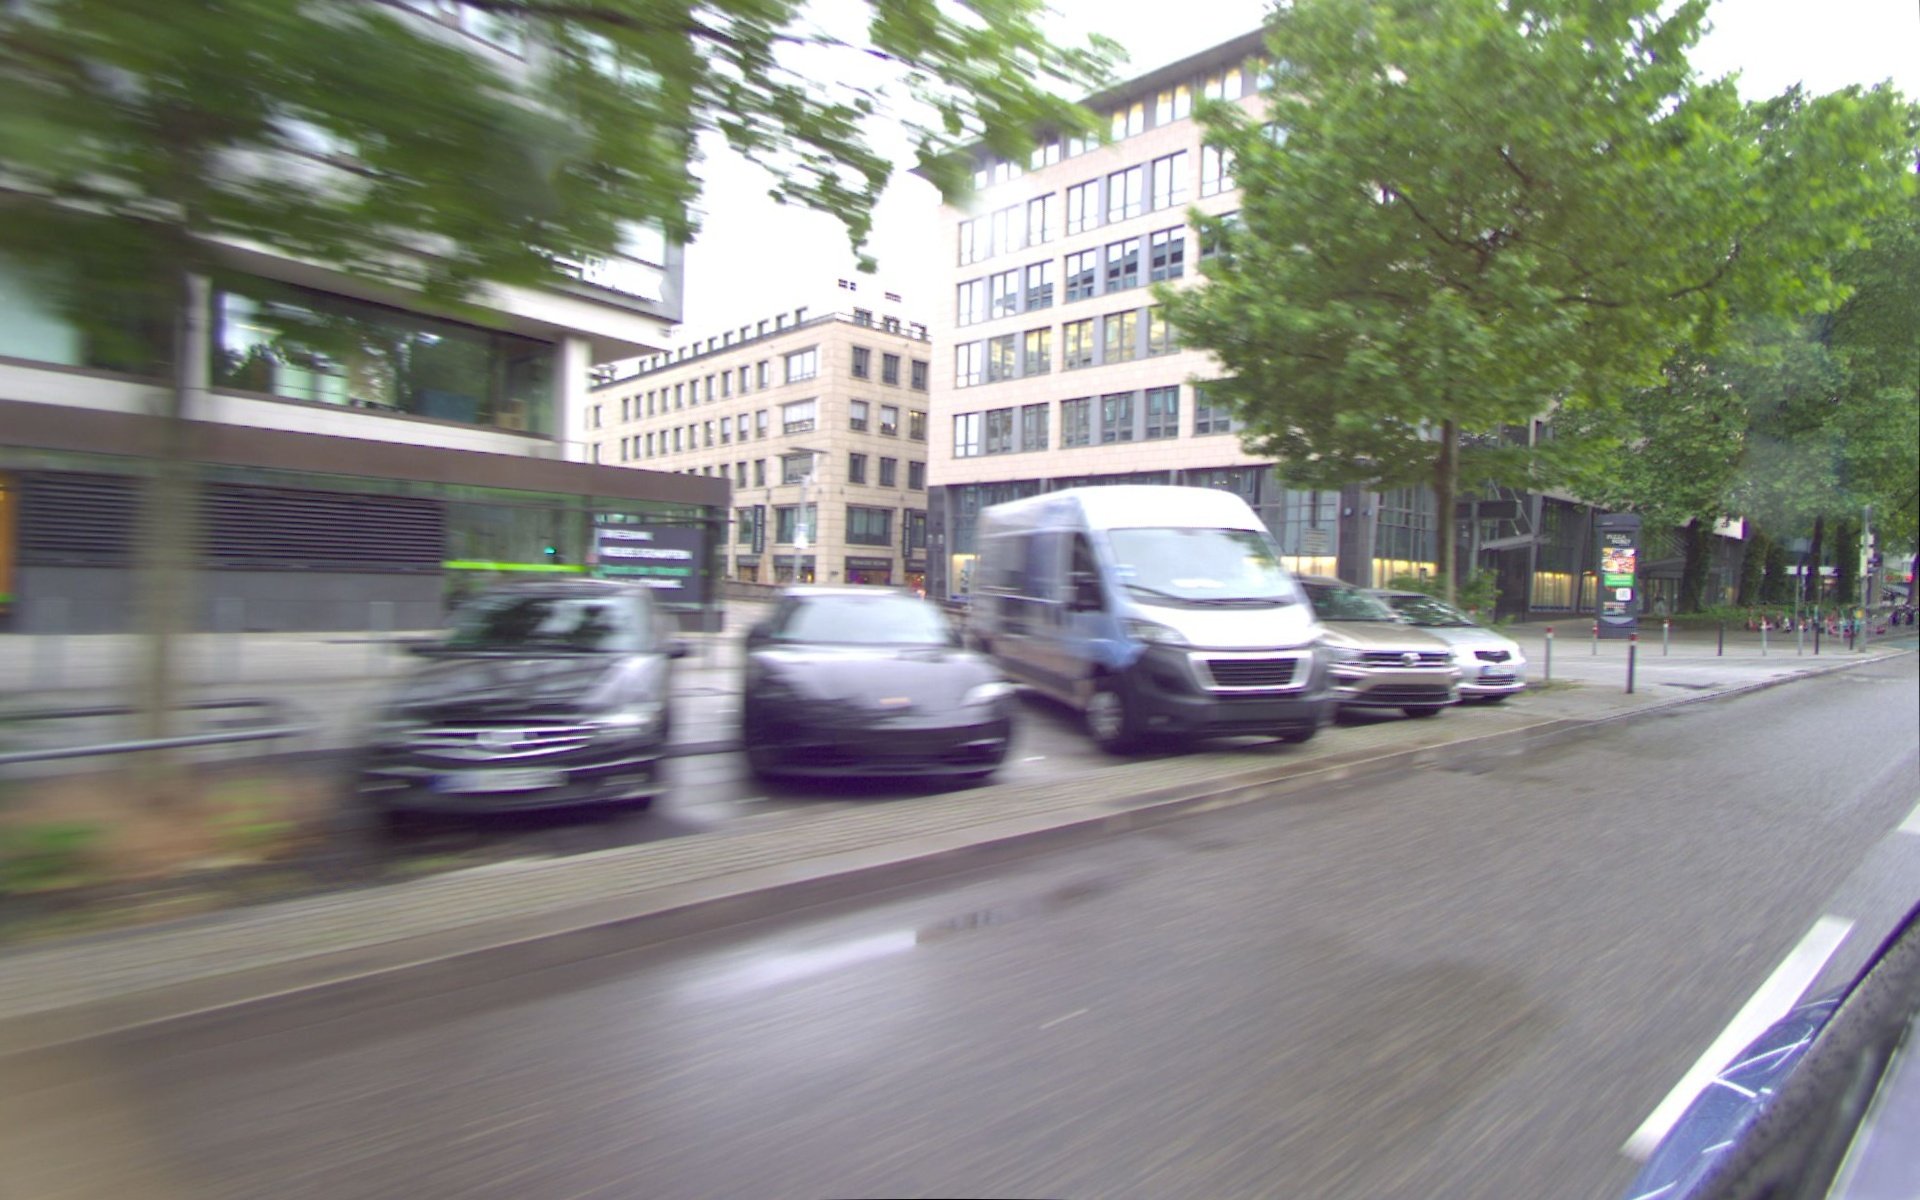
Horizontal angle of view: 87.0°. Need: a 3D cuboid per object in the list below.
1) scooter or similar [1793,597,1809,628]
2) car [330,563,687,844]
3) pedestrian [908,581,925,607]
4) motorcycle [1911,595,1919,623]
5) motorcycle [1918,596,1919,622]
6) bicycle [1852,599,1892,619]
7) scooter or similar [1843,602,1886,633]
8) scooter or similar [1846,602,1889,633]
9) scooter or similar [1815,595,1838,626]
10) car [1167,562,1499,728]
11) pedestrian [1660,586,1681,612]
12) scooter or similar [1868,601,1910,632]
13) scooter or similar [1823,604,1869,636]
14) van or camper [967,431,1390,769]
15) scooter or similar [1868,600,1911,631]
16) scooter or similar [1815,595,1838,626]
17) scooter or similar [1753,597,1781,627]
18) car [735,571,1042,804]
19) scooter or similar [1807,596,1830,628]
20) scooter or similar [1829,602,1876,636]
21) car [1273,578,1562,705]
[{"bbox_3d":[34.313,0.500,41.279,0.487,1.212,1.275,1,1,41],"label":"scooter or similar"},{"bbox_3d":[-2.941,0.485,7.477,1.684,1.454,4.222,0,1,-14],"label":"car"},{"bbox_3d":[-3.059,-0.424,71.644,0.723,1.854,1.073,0,0,34],"label":"pedestrian"},{"bbox_3d":[49.483,0.500,51.151,1.949,1.391,0.720,3,1,35],"label":"motorcycle"},{"bbox_3d":[51.888,0.520,53.289,1.945,1.391,0.721,3,1,30],"label":"motorcycle"},{"bbox_3d":[47.678,0.454,52.927,1.727,1.041,0.640,0,1,-11],"label":"bicycle"},{"bbox_3d":[38.880,0.767,43.511,0.480,1.251,1.293,2,1,-37],"label":"scooter or similar"},{"bbox_3d":[39.439,0.753,43.984,0.480,1.251,1.293,2,1,-37],"label":"scooter or similar"},{"bbox_3d":[37.335,0.462,43.616,1.270,1.275,0.489,2,1,-40],"label":"scooter or similar"},{"bbox_3d":[4.340,0.433,12.604,1.780,1.688,4.279,0,1,-14],"label":"car"},{"bbox_3d":[46.932,-0.080,66.821,0.813,1.714,0.729,2,1,3],"label":"pedestrian"},{"bbox_3d":[41.311,0.716,45.004,1.288,1.294,0.529,3,1,40],"label":"scooter or similar"},{"bbox_3d":[36.572,0.818,41.778,0.479,1.275,1.296,2,1,-28],"label":"scooter or similar"},{"bbox_3d":[1.784,-0.068,10.949,2.061,2.590,6.098,0,1,-13],"label":"van or camper"},{"bbox_3d":[41.779,0.702,45.495,0.527,1.294,1.294,2,1,-35],"label":"scooter or similar"},{"bbox_3d":[37.335,0.462,43.616,1.270,1.275,0.489,2,1,-40],"label":"scooter or similar"},{"bbox_3d":[33.747,0.486,42.336,0.483,1.212,1.286,0,1,19],"label":"scooter or similar"},{"bbox_3d":[-0.904,0.492,8.668,1.900,1.454,4.412,0,1,-14],"label":"car"},{"bbox_3d":[35.210,0.487,41.504,1.270,1.275,0.489,2,1,-40],"label":"scooter or similar"},{"bbox_3d":[35.931,0.743,40.759,0.479,1.275,1.296,2,1,-28],"label":"scooter or similar"},{"bbox_3d":[6.347,0.488,14.493,1.679,1.566,3.668,0,1,-20],"label":"car"}]
